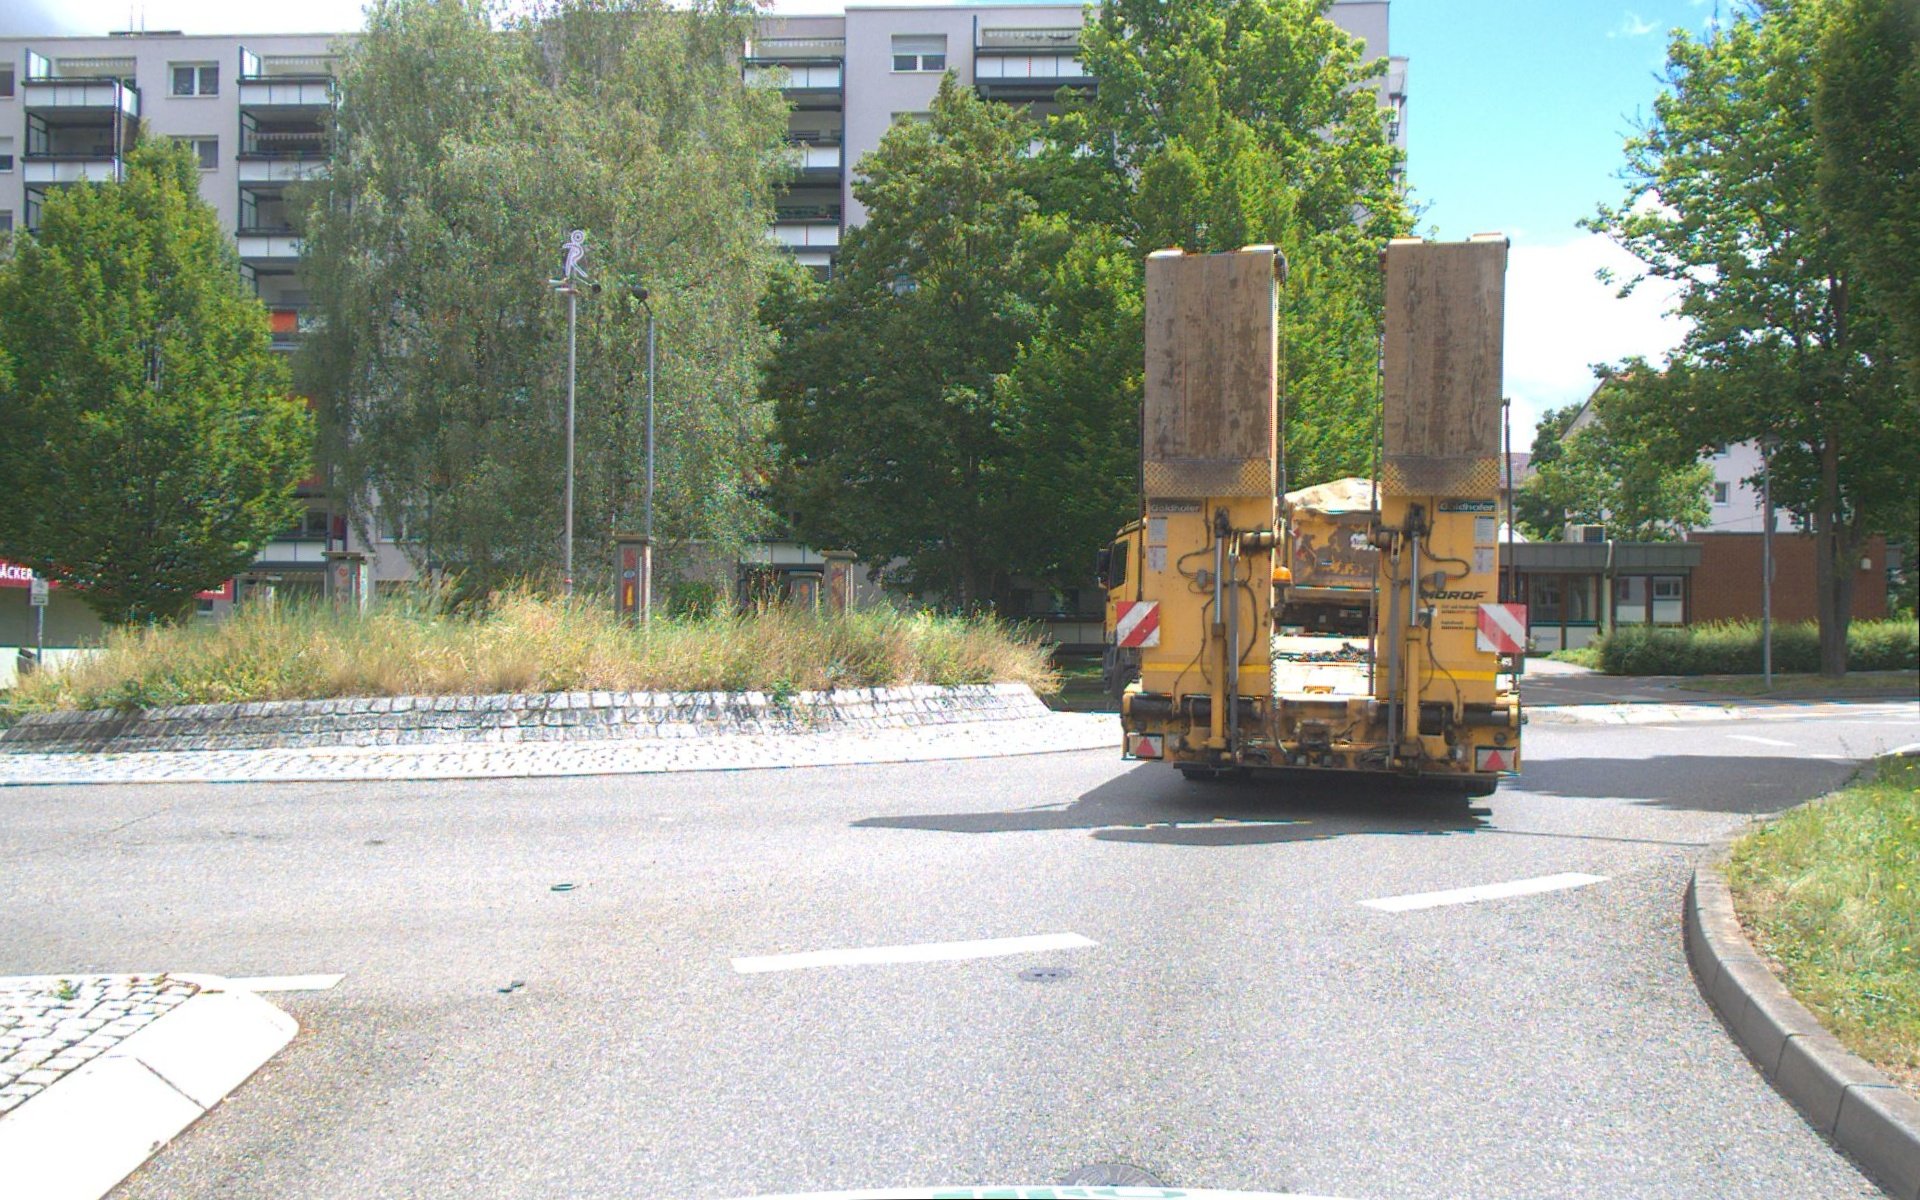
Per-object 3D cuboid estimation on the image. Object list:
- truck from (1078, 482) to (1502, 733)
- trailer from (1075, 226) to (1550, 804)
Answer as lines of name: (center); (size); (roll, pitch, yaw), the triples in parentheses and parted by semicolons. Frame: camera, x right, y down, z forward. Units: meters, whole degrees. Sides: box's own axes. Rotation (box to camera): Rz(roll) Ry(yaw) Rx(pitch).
truck: (4.464, 0.110, 24.798); (2.937, 3.088, 8.454); (-1, 0, -14)
trailer: (3.589, -0.452, 15.401); (2.803, 3.431, 10.847); (1, -1, 16)
